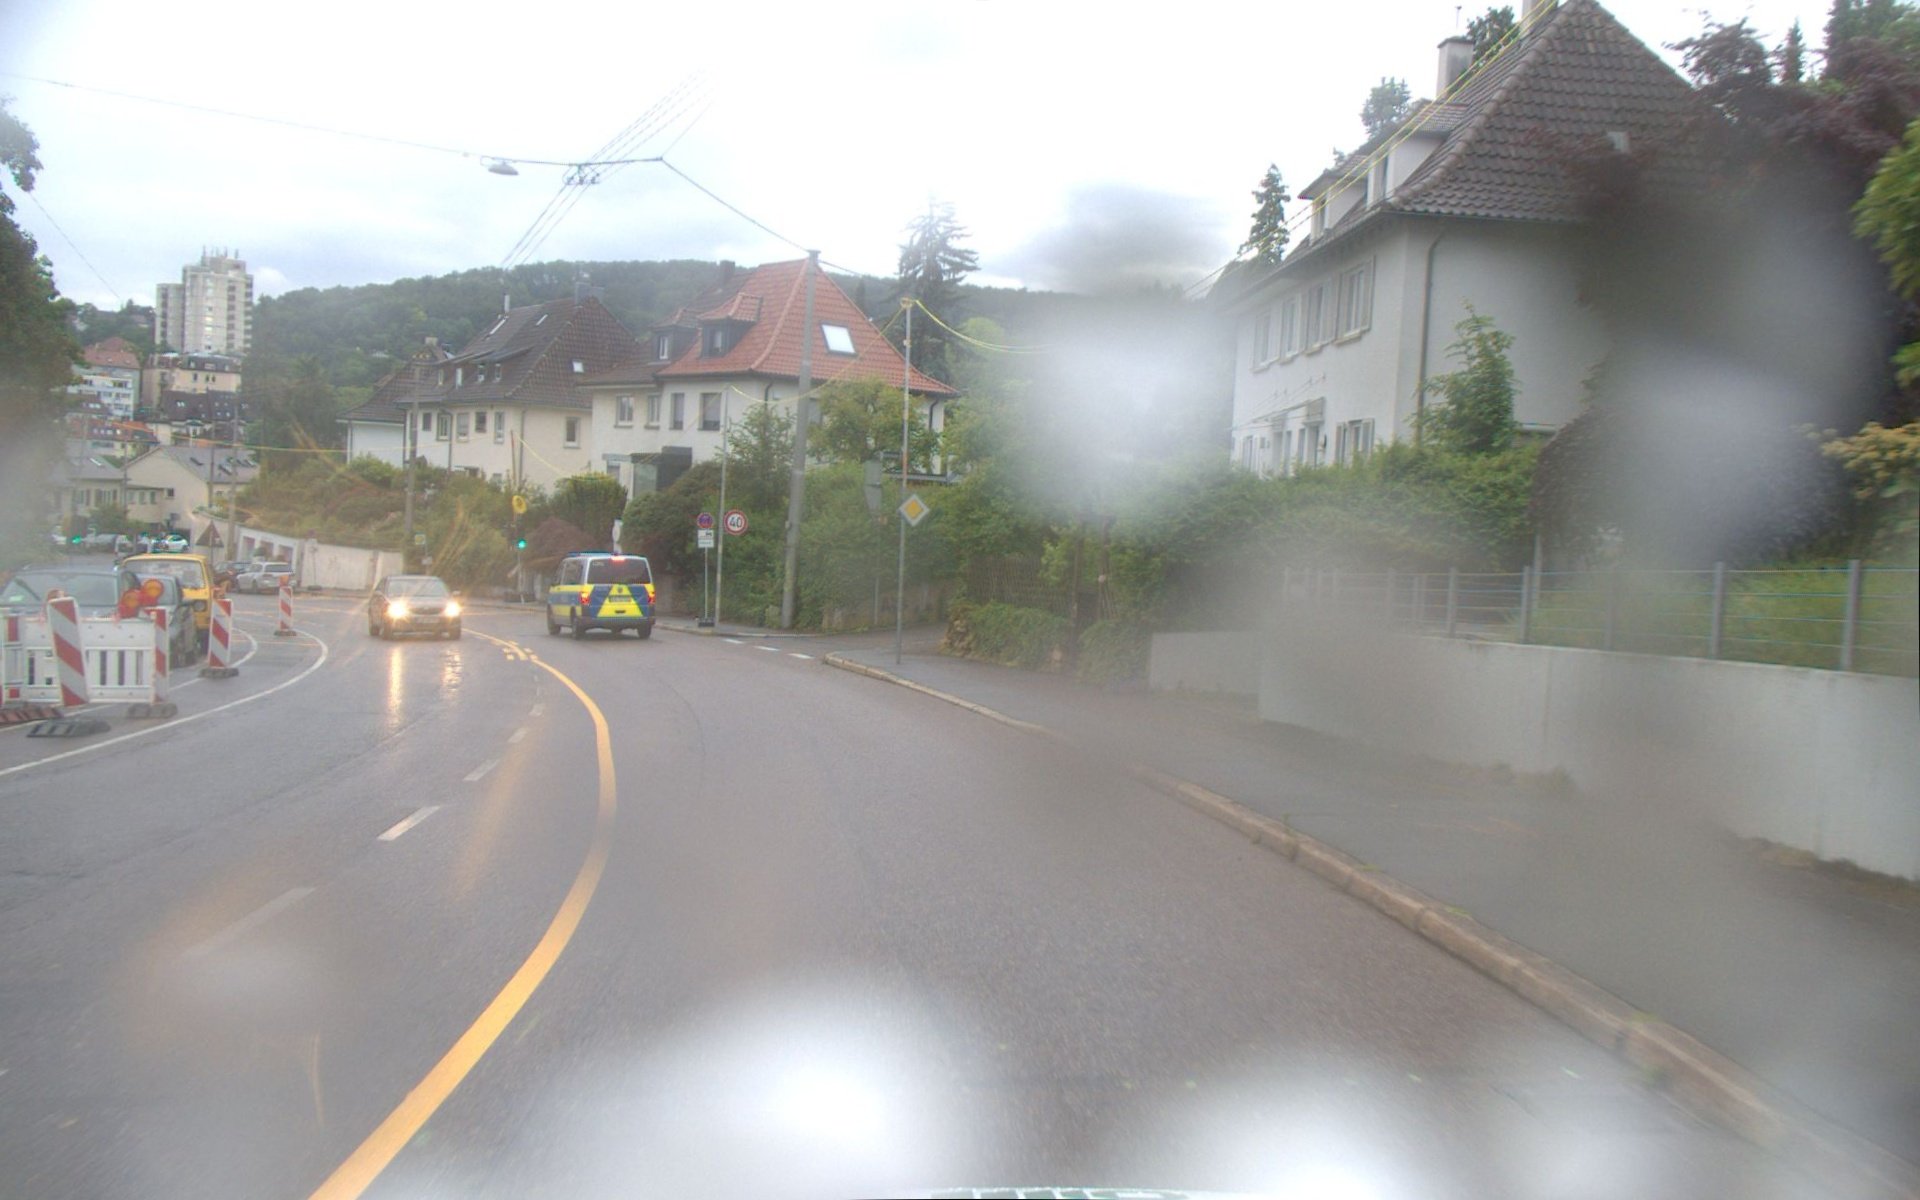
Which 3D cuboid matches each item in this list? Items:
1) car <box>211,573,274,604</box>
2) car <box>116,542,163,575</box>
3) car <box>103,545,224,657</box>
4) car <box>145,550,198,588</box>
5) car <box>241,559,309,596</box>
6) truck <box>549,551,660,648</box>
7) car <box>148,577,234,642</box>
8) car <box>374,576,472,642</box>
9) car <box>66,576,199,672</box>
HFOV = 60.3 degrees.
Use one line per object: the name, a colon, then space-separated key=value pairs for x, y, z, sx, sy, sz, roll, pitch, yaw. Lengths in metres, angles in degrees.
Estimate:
car: x=-35.190 y=-0.584 z=81.075 sx=1.979 sy=1.400 sz=3.947 roll=2 pitch=0 yaw=-37
car: x=-50.265 y=-2.554 z=101.331 sx=1.978 sy=1.712 sz=3.953 roll=-2 pitch=7 yaw=-36
car: x=-15.973 y=0.007 z=33.382 sx=1.967 sy=2.049 sz=5.104 roll=2 pitch=0 yaw=-24
car: x=-43.648 y=-1.728 z=91.496 sx=1.978 sy=1.712 sz=3.953 roll=-2 pitch=7 yaw=-36
car: x=-31.835 y=-1.059 z=76.790 sx=1.979 sy=1.601 sz=3.947 roll=2 pitch=0 yaw=-37
truck: x=-8.795 y=-0.070 z=40.609 sx=1.965 sy=2.048 sz=4.707 roll=0 pitch=4 yaw=-21
car: x=-19.022 y=0.208 z=41.000 sx=1.822 sy=1.489 sz=3.739 roll=2 pitch=0 yaw=-24
car: x=-12.962 y=0.194 z=40.132 sx=1.960 sy=1.489 sz=3.985 roll=2 pitch=0 yaw=-14
car: x=-13.962 y=0.373 z=28.071 sx=1.822 sy=1.489 sz=3.739 roll=2 pitch=0 yaw=-24
